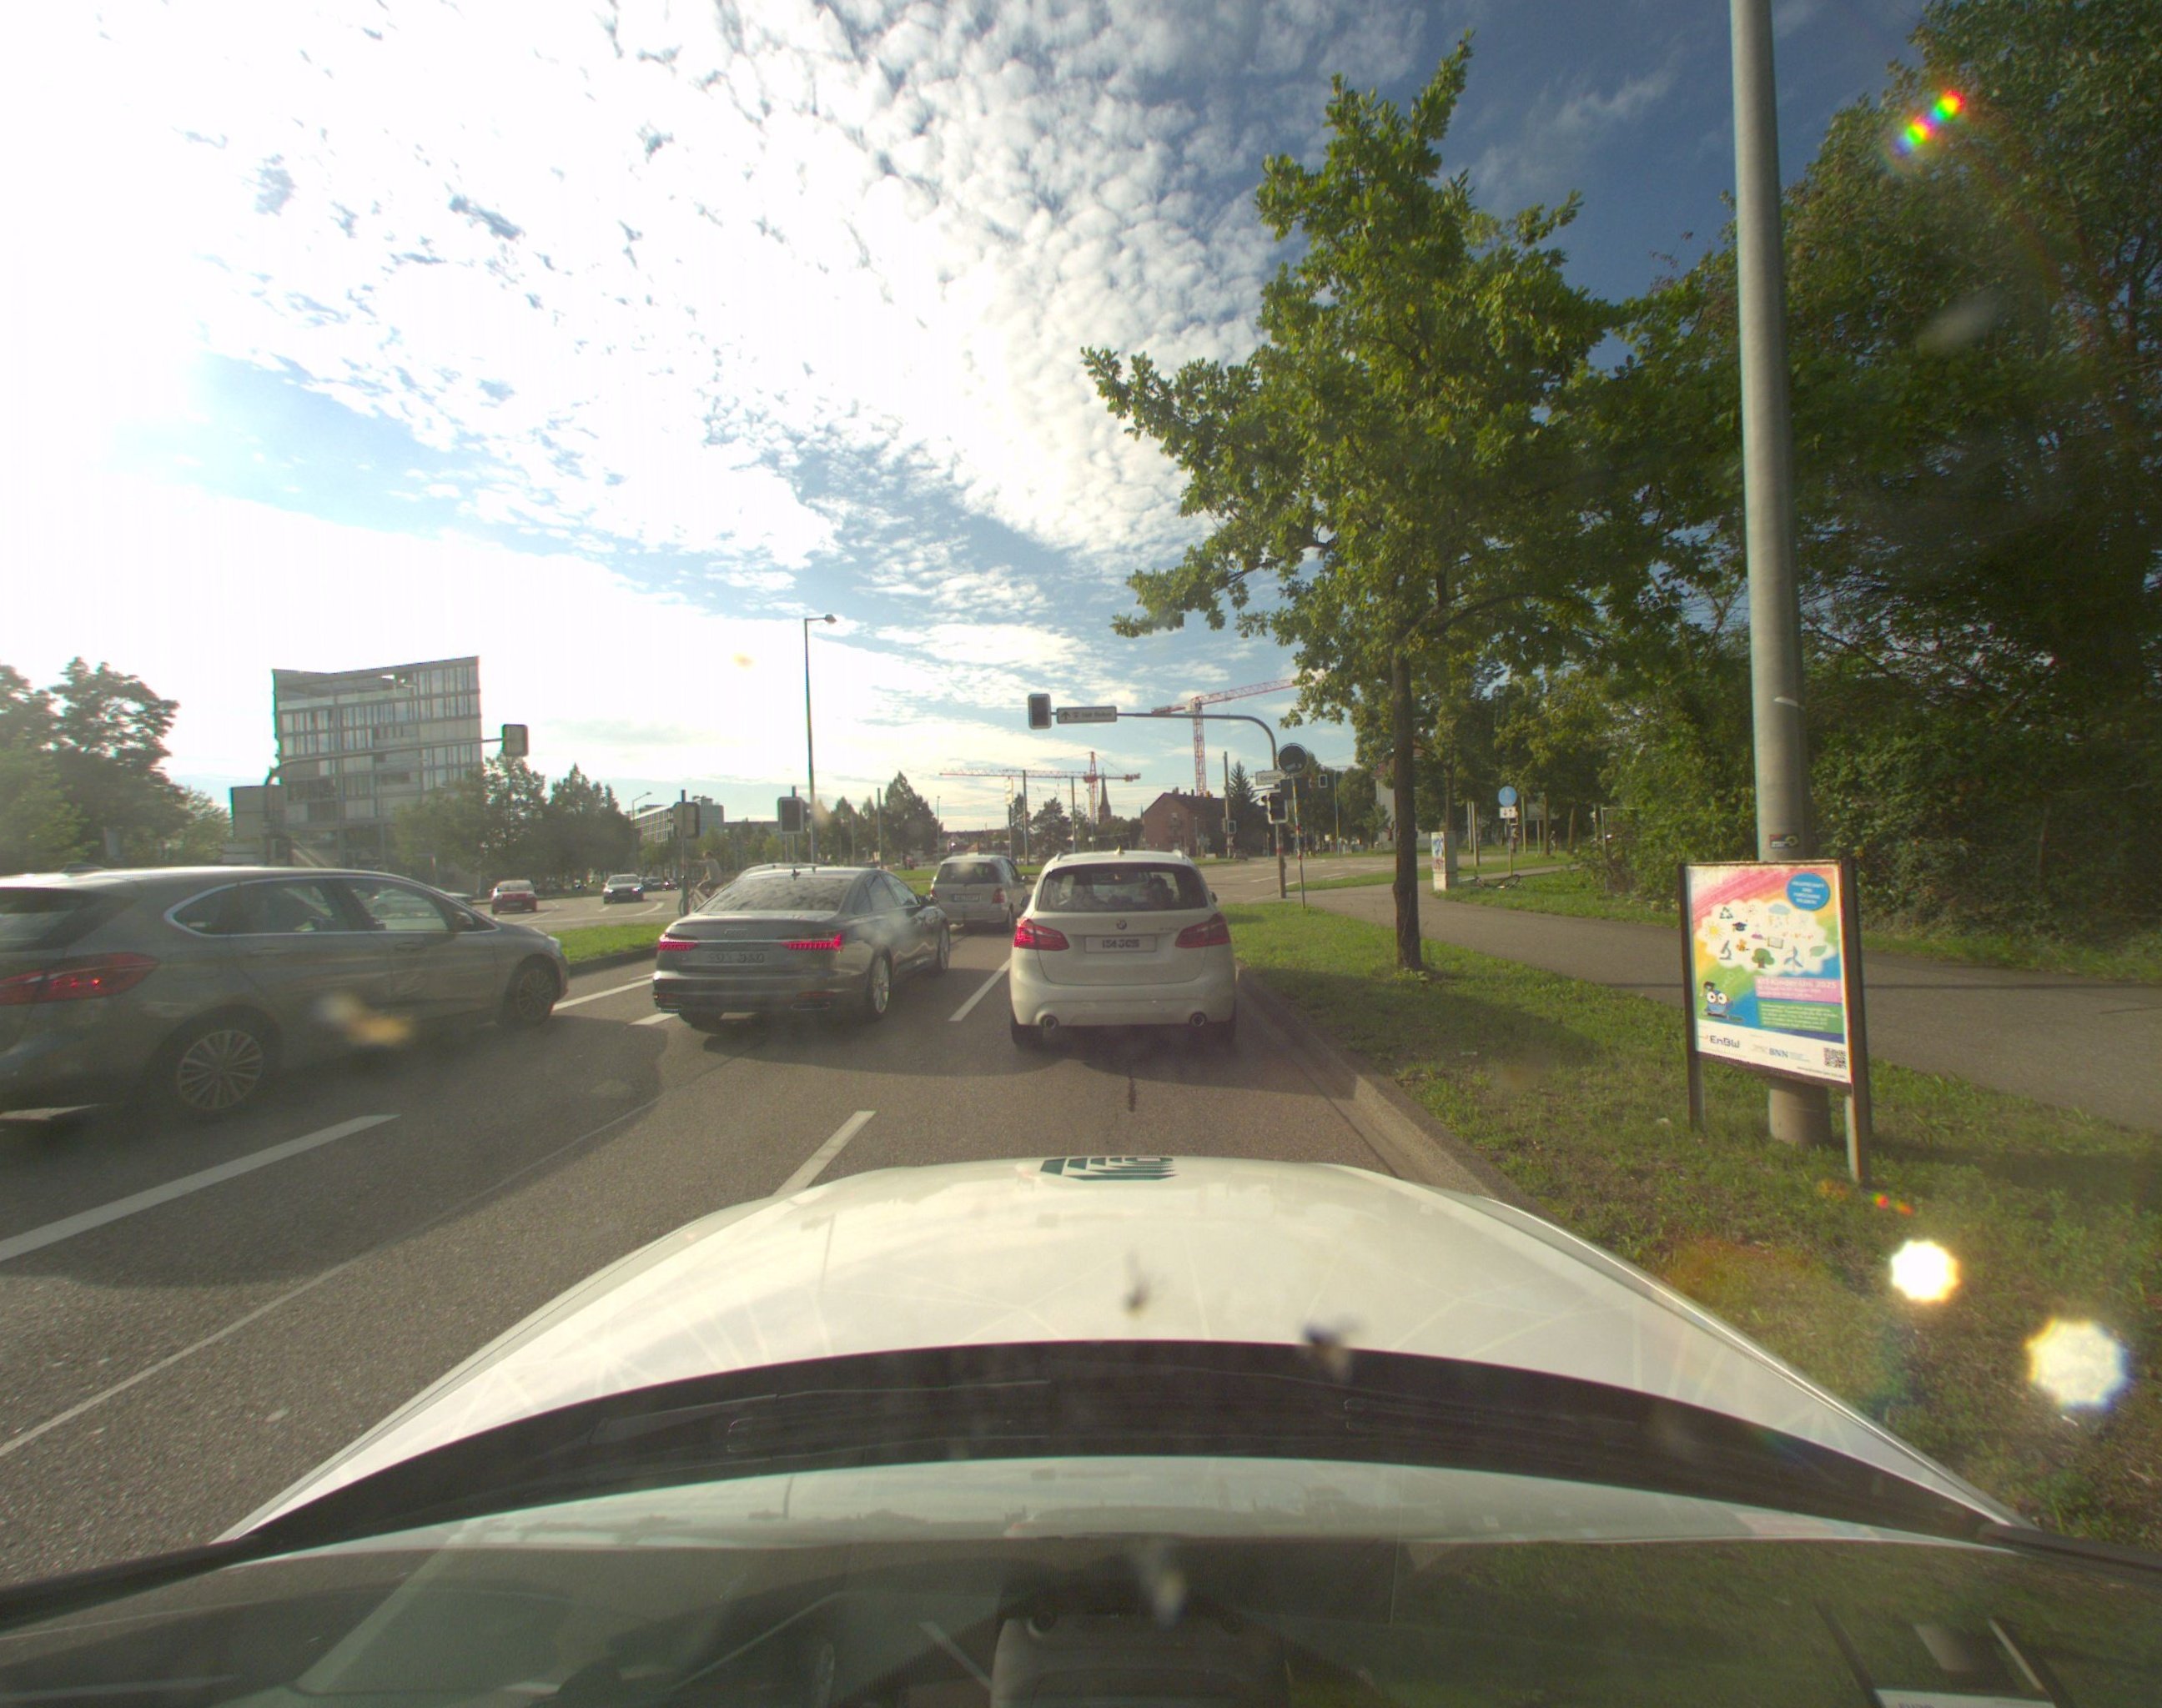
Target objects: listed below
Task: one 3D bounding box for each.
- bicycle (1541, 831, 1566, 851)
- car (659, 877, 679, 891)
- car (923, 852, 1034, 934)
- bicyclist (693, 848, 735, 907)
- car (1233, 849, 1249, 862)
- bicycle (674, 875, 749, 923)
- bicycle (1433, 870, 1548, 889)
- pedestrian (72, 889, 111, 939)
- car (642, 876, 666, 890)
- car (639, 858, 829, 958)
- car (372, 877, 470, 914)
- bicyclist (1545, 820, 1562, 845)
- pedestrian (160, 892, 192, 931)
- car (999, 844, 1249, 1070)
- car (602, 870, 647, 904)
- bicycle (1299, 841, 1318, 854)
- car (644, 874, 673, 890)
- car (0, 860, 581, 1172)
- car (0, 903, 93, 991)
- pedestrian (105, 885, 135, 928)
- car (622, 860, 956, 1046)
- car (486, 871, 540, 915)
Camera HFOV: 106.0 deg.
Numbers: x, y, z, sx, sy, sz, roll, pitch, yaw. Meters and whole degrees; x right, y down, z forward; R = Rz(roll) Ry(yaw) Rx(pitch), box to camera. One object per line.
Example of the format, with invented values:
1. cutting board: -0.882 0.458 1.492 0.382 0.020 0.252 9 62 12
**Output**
1. bicycle: 39.422 -1.087 68.003 1.036 1.662 2.504 0 0 12
2. car: -47.591 3.488 94.062 1.598 1.415 3.644 -2 -2 -20
3. car: -2.107 0.753 17.788 1.722 1.558 4.060 -1 0 2
4. bicyclist: -9.937 0.628 22.059 0.850 1.526 0.737 -3 -1 -15
5. car: 21.805 0.157 110.861 1.556 1.574 3.215 -4 0 20
6. bicycle: -9.968 1.203 22.020 1.728 1.163 0.652 -2 -1 -15
7. bicycle: 10.466 0.636 20.978 1.407 0.385 2.568 -3 0 -9
8. pedestrian: -31.913 1.922 26.270 0.595 1.581 0.574 3 -2 -34
9. car: -54.405 3.697 103.686 1.723 1.691 3.951 -2 -1 -42
10. car: -6.032 0.861 14.678 1.674 1.523 3.811 -1 0 1
11. car: -34.179 2.148 42.259 3.490 1.592 1.588 -4 0 -10
12. bicyclist: 39.382 -1.798 67.861 0.834 2.013 1.146 -1 0 11
13. pedestrian: -38.534 2.446 34.684 0.651 1.569 0.617 -3 -1 9
14. car: 0.362 0.726 7.749 1.723 1.558 4.059 -1 0 2
15. car: -23.467 1.654 41.966 1.715 1.574 3.966 -2 0 -25
16. bicycle: 28.295 -0.763 101.386 0.898 1.530 2.268 0 -2 -28
17. car: -43.893 2.898 84.689 1.790 1.575 3.978 -3 0 -16
18. car: -5.960 0.853 6.159 1.722 1.558 4.021 -1 0 2
19. car: -19.588 1.721 13.159 1.901 1.433 4.229 -5 0 2
20. pedestrian: -46.252 2.516 39.184 0.923 2.013 0.886 -3 -1 40
21. car: -2.750 0.832 8.983 1.883 1.483 4.614 -1 -1 2
22. car: -25.529 1.714 36.559 1.720 1.769 3.954 -2 0 -38
